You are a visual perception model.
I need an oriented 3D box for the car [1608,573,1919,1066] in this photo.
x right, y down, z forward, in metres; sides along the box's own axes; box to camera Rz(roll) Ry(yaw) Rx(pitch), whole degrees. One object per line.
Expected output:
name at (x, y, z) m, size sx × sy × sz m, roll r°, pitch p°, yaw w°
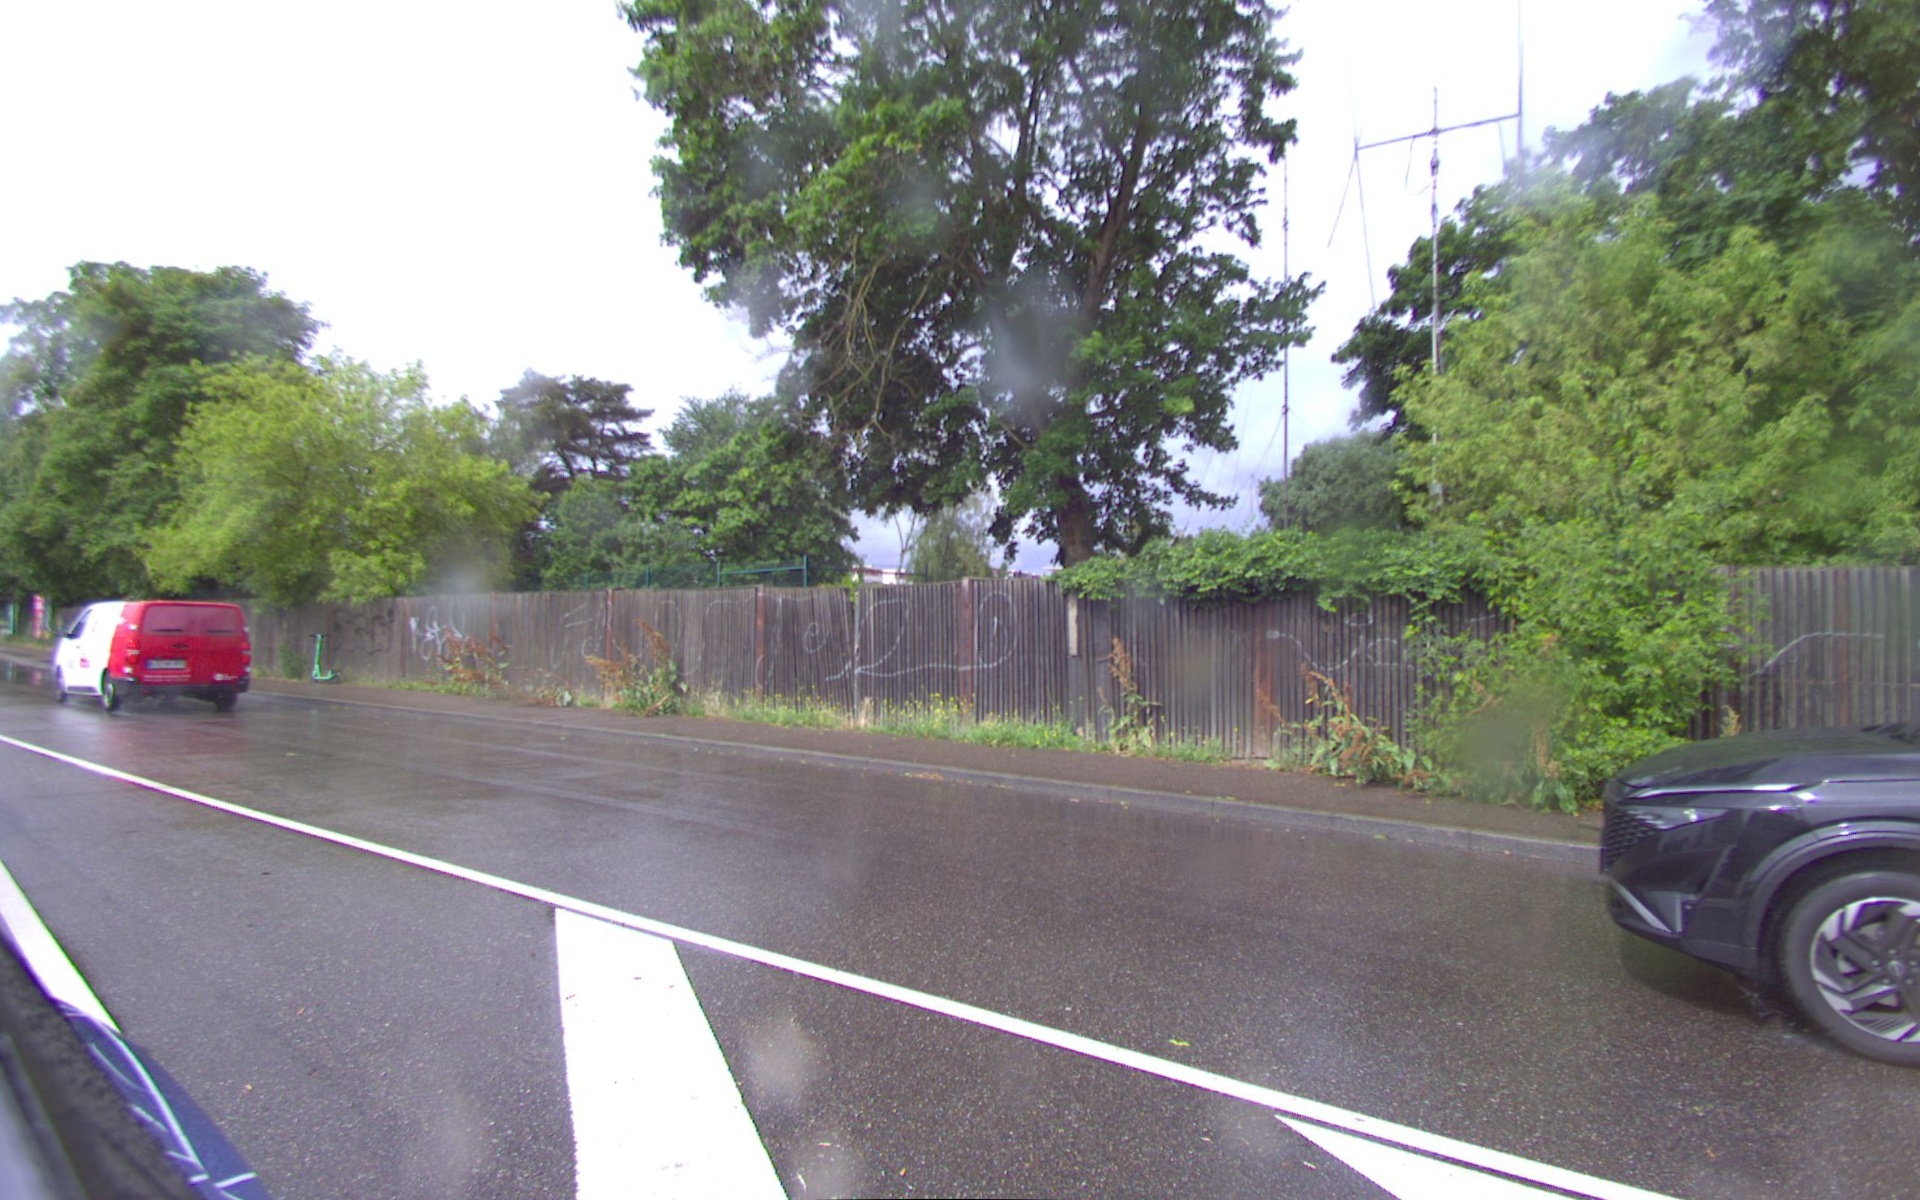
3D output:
car at (4.719, 0.776, 3.538) m, size 4.098 × 1.677 × 1.720 m, roll -1°, pitch -4°, yaw 34°

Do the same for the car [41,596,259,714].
car at (-14.919, 0.956, 18.539) m, size 5.124 × 1.890 × 1.870 m, roll -1°, pitch -3°, yaw 37°

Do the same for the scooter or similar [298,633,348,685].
scooter or similar at (-14.968, 1.370, 23.782) m, size 1.205 × 1.171 × 0.557 m, roll -1°, pitch -2°, yaw 35°
